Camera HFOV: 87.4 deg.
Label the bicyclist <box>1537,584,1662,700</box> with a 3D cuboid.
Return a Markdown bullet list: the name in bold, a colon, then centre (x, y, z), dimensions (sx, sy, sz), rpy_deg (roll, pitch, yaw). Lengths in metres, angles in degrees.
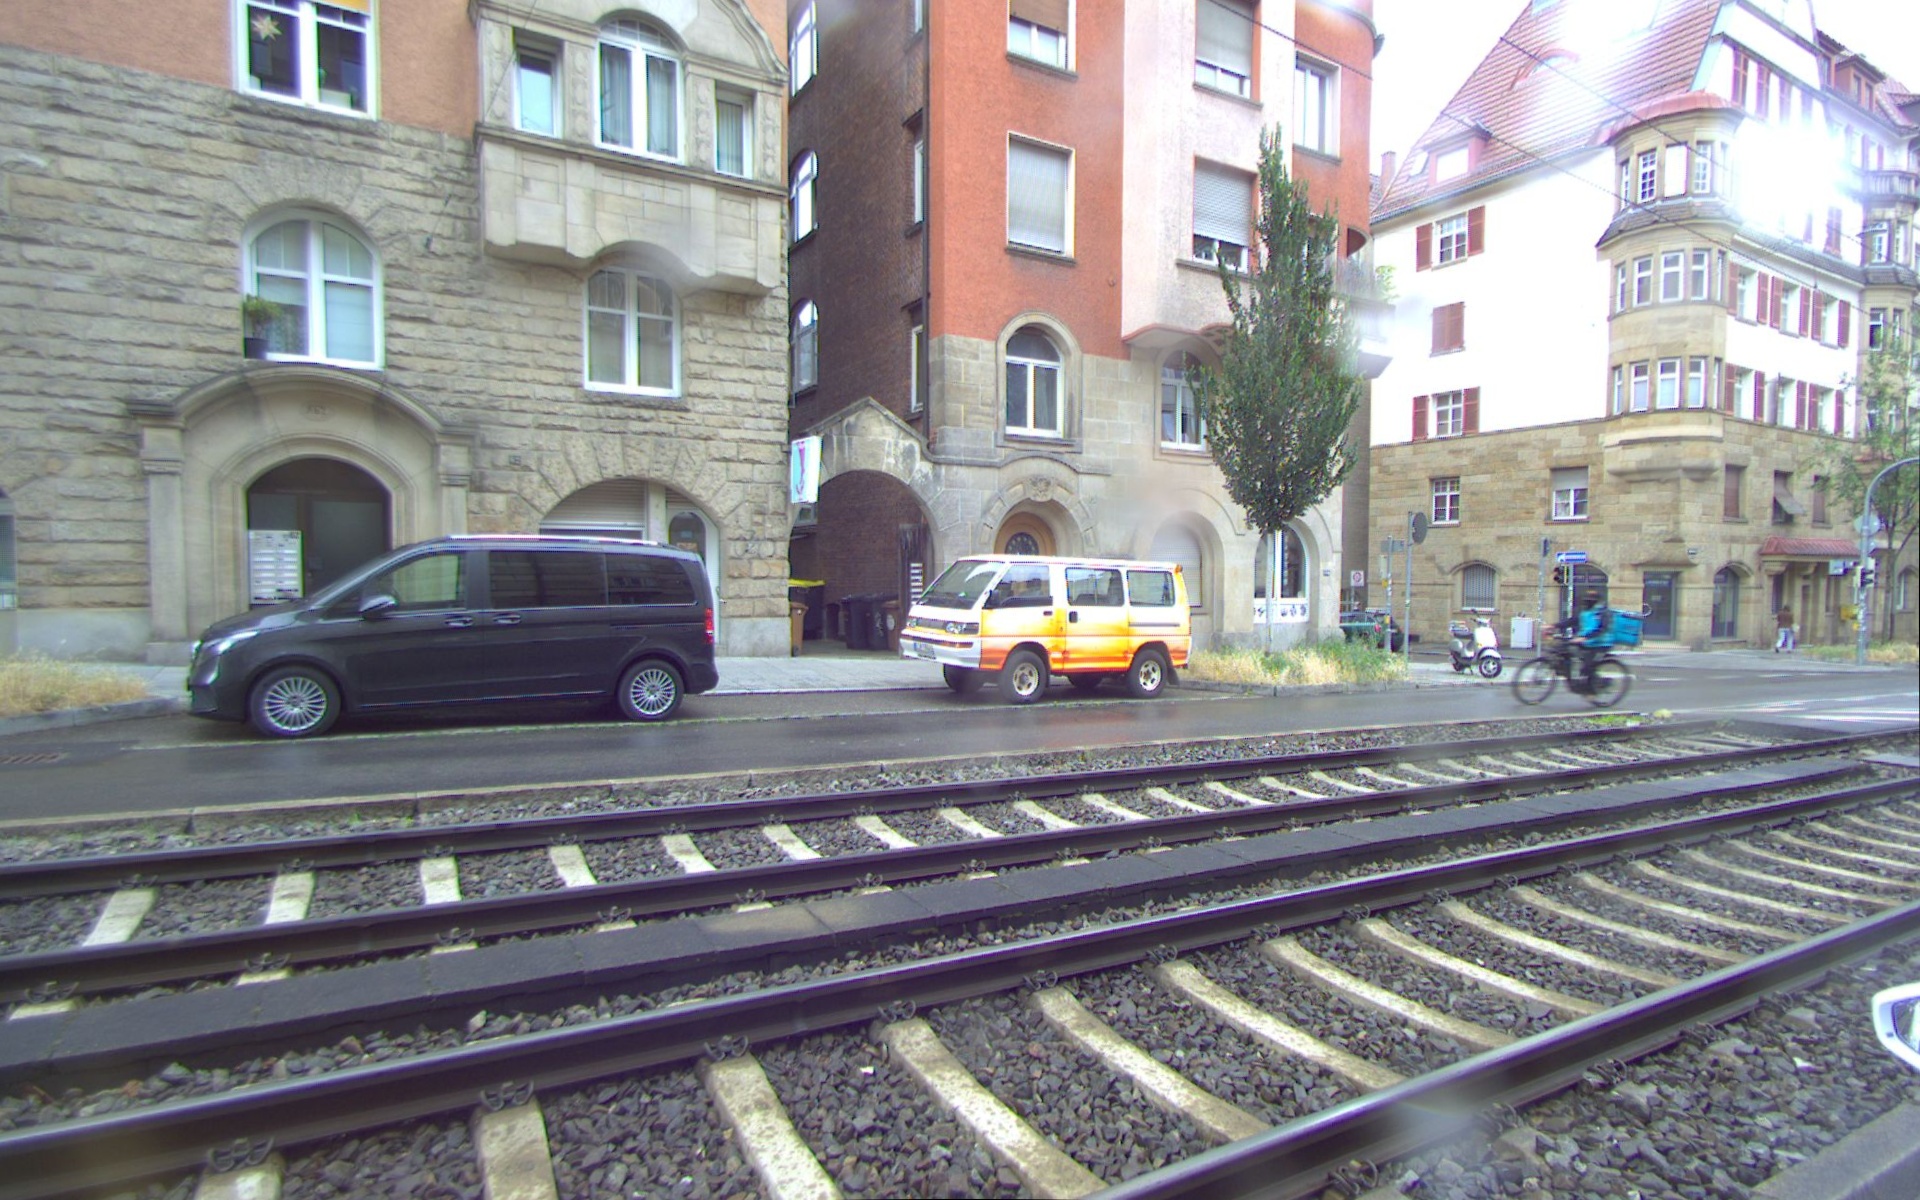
- **bicyclist**: centre (9.365, 0.607, 14.745), dimensions (1.230, 1.618, 0.886), rpy_deg (2, 0, -5)

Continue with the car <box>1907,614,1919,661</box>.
- **car**: centre (34.176, 1.334, 34.355), dimensions (3.994, 1.573, 1.741), rpy_deg (2, 0, -34)

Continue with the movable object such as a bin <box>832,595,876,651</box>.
- **movable object such as a bin**: centre (-2.076, 0.449, 19.686), dimensions (0.607, 1.052, 0.793), rpy_deg (1, -1, -27)

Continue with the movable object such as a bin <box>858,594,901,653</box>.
- **movable object such as a bin**: centre (-1.538, 0.444, 19.140), dimensions (0.607, 1.090, 0.679), rpy_deg (1, -1, -27)

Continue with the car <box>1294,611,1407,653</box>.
- **car**: centre (14.468, 1.162, 37.344), dimensions (1.683, 1.423, 3.618), rpy_deg (2, 0, -34)

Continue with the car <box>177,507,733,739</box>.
- **car**: centre (-5.043, 0.252, 10.595), dimensions (4.769, 1.968, 1.984), rpy_deg (2, 0, -30)

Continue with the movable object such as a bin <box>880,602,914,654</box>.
- **movable object such as a bin**: centre (-1.165, 0.519, 18.632), dimensions (0.442, 0.957, 0.557), rpy_deg (1, -1, -27)

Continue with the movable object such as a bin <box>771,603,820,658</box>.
- **movable object such as a bin**: centre (-2.884, 0.526, 17.591), dimensions (0.627, 0.918, 0.793), rpy_deg (1, 1, -27)

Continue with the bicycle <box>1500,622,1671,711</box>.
- **bicycle**: centre (9.140, 0.959, 14.731), dimensions (1.998, 1.202, 0.826), rpy_deg (2, 0, -4)

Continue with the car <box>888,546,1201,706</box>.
- **car**: centre (1.284, 0.378, 14.440), dimensions (4.295, 2.001, 1.721), rpy_deg (2, 0, -32)

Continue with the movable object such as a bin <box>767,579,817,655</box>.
- **movable object such as a bin**: centre (-3.099, 0.305, 18.464), dimensions (0.648, 1.360, 0.903), rpy_deg (1, 1, -27)

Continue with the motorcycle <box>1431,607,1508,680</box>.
- **motorcycle**: centre (10.114, 0.833, 20.001), dimensions (0.612, 1.384, 1.596), rpy_deg (2, 0, -3)

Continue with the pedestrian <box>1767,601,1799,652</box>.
- **pedestrian**: centre (27.630, 0.880, 33.715), dimensions (0.696, 1.695, 0.627), rpy_deg (2, 0, -35)

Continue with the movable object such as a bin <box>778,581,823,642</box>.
- **movable object such as a bin**: centre (-3.603, 0.243, 22.657), dimensions (0.676, 1.324, 1.154), rpy_deg (1, 1, -26)
